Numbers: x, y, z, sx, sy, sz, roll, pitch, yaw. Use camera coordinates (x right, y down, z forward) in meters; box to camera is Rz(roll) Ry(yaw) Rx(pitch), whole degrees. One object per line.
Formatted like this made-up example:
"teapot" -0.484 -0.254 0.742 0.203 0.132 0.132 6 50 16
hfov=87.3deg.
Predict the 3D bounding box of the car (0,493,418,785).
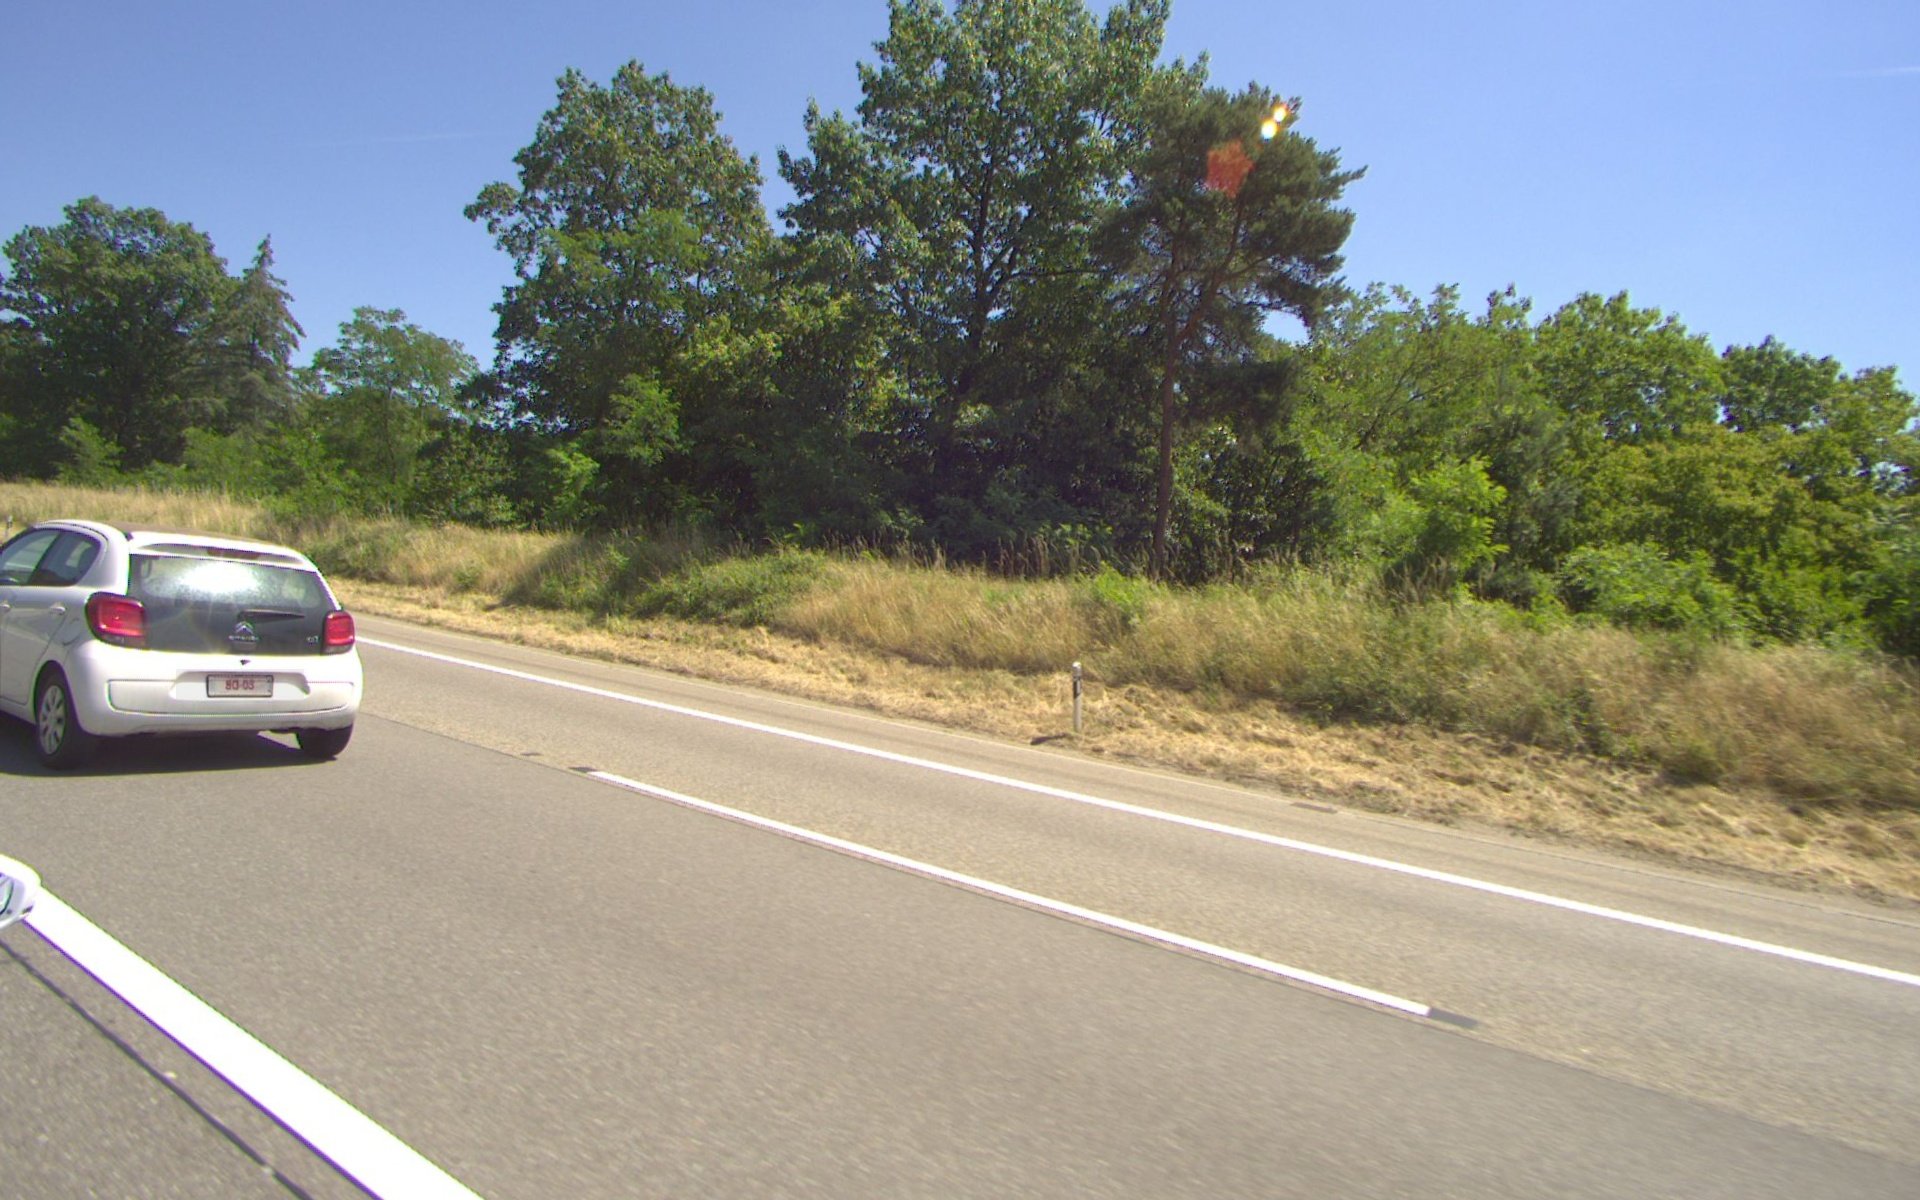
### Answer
"car" -5.890 0.135 7.198 3.958 1.513 1.711 7 -1 32
